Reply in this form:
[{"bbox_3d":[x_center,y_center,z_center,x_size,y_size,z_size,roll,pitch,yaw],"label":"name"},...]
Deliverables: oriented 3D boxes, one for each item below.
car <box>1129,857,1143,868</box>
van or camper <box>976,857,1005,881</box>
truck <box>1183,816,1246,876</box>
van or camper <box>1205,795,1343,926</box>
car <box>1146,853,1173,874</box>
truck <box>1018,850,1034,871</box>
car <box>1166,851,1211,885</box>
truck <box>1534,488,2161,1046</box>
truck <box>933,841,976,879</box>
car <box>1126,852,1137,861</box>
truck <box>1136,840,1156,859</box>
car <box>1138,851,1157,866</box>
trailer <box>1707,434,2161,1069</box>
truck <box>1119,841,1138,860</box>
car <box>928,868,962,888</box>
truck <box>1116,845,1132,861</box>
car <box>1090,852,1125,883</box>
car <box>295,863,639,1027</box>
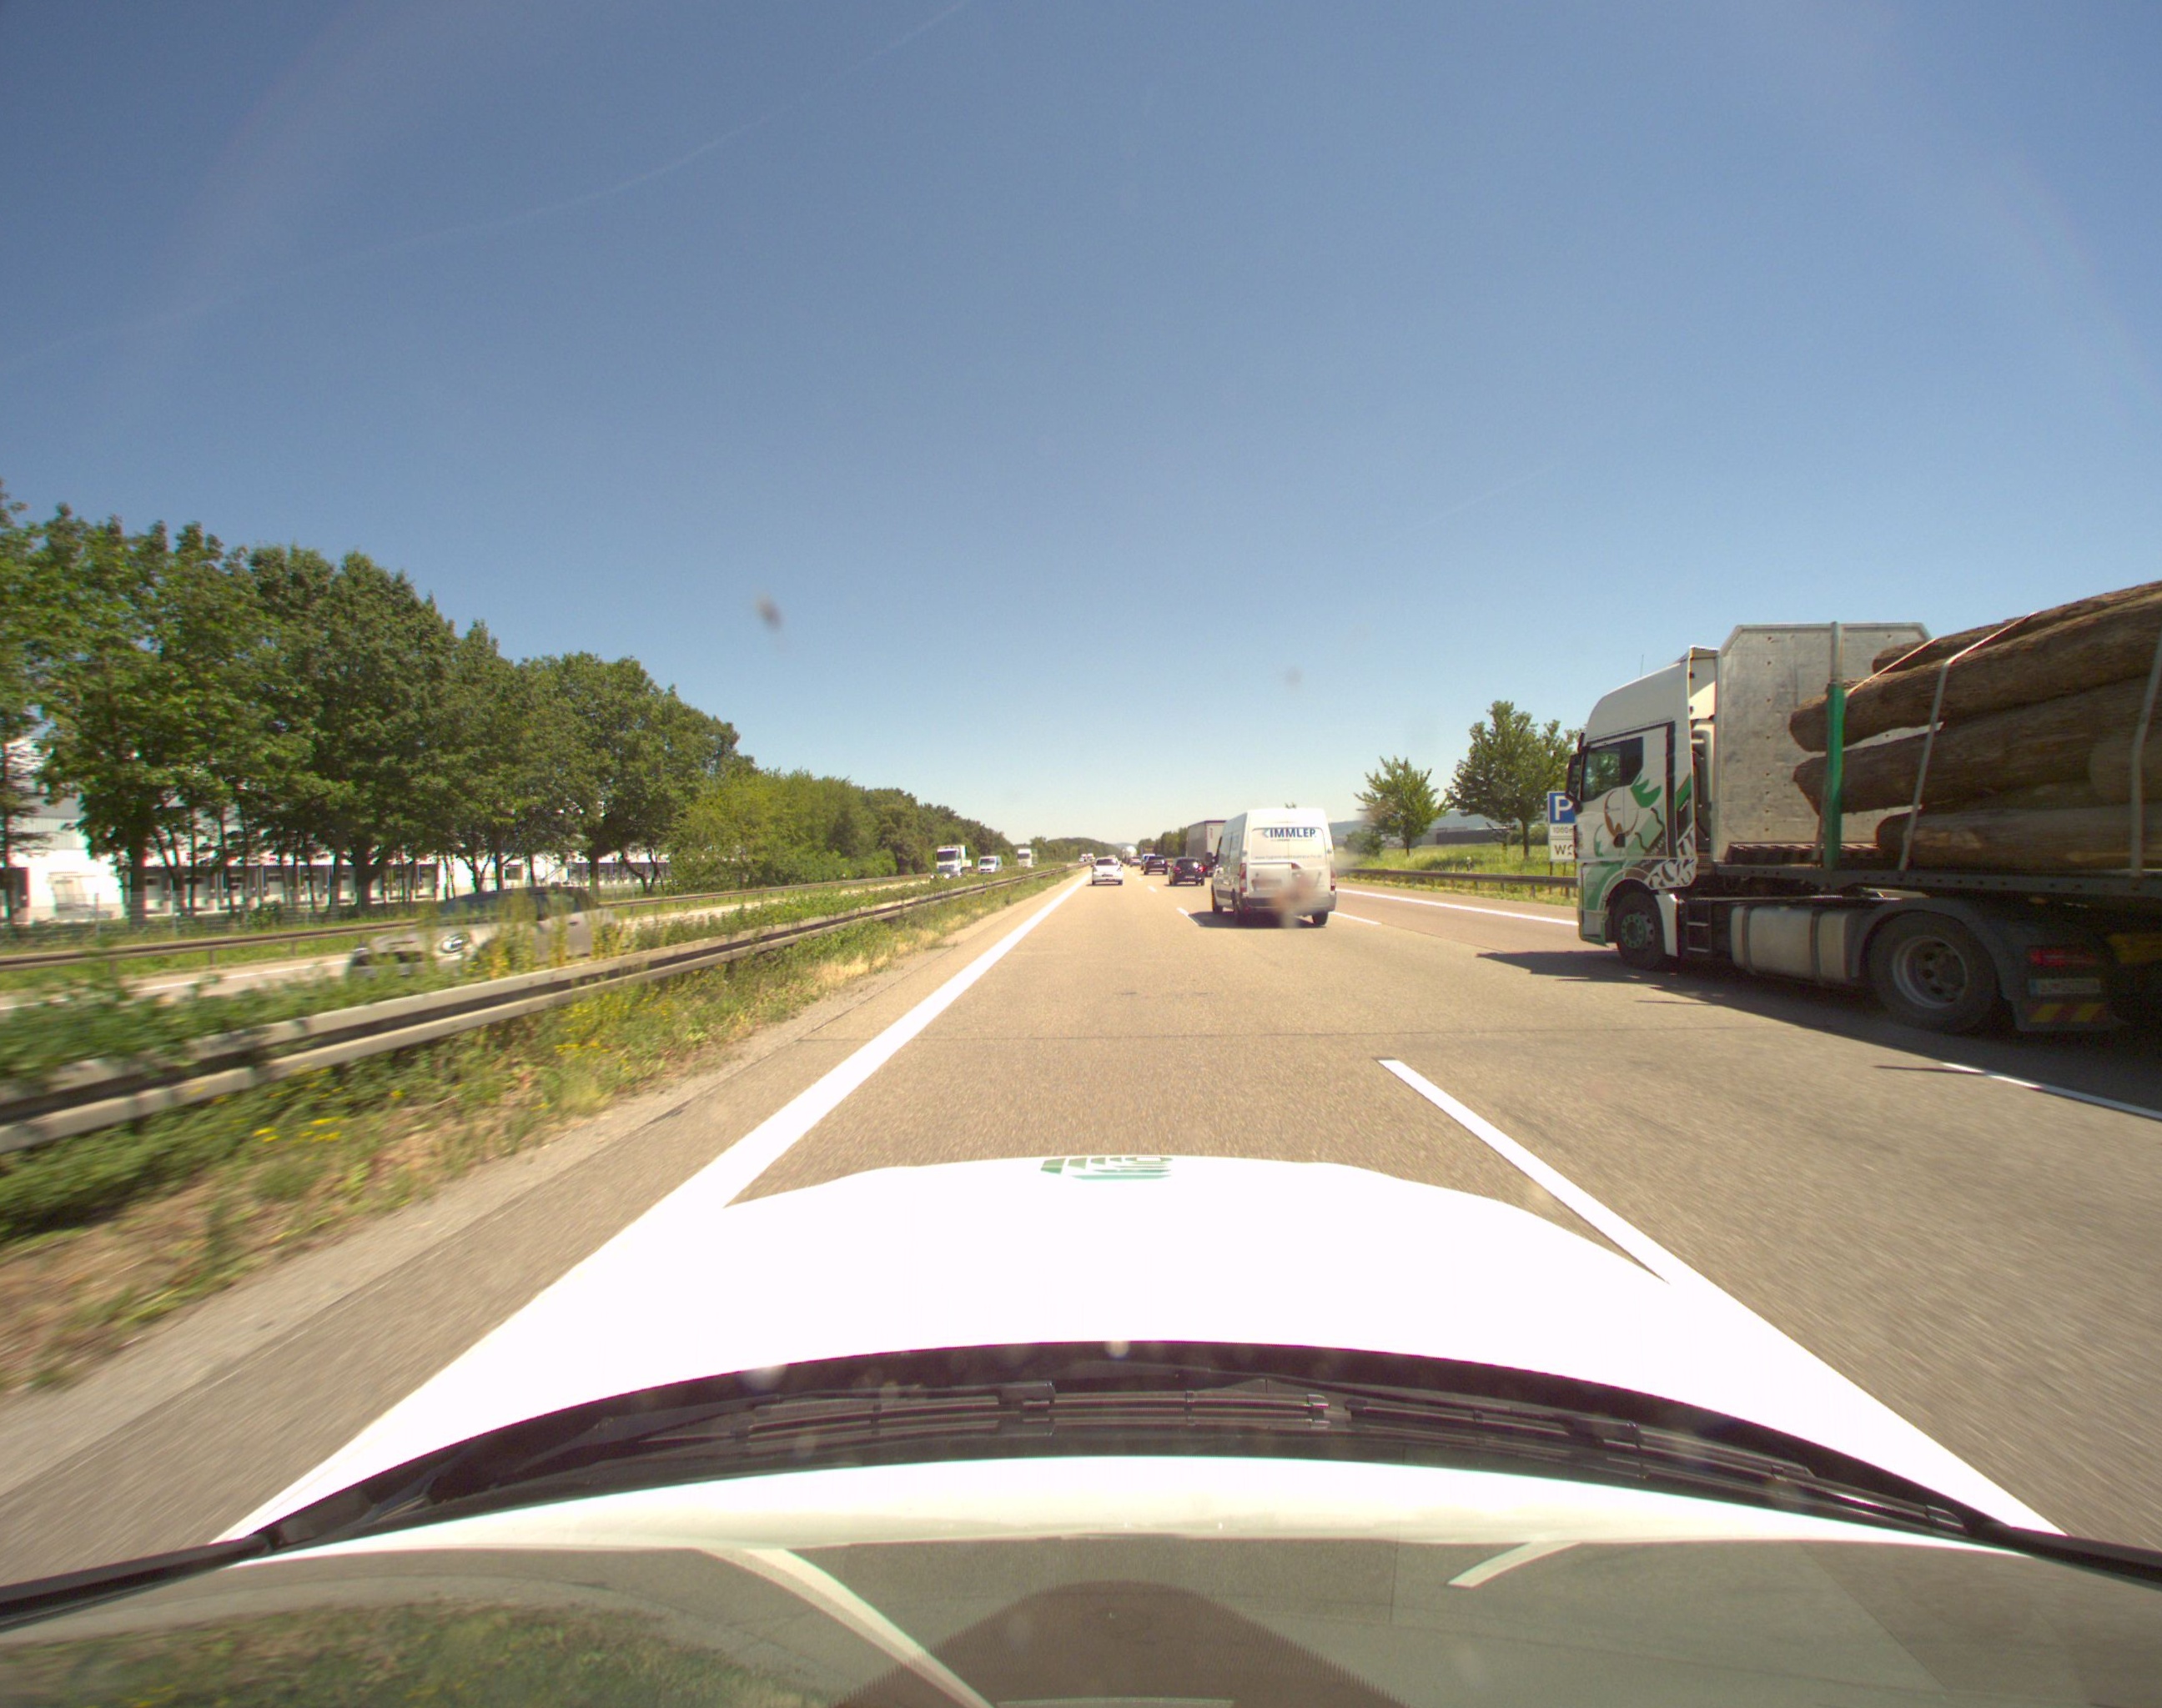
[{"bbox_3d":[8.289,1.309,122.987,1.851,1.652,4.000,-1,0,0],"label":"car"},{"bbox_3d":[-9.471,1.533,85.891,2.050,2.353,6.078,-3,0,2],"label":"van or camper"},{"bbox_3d":[10.388,-0.547,65.320,3.066,4.209,16.853,0,0,2],"label":"truck"},{"bbox_3d":[4.399,0.144,19.603,2.050,2.622,5.987,-1,0,2],"label":"van or camper"},{"bbox_3d":[6.545,0.780,68.403,1.851,1.652,4.000,-1,0,0],"label":"car"},{"bbox_3d":[-10.689,1.223,158.364,2.407,4.093,5.883,-1,0,2],"label":"truck"},{"bbox_3d":[5.598,0.702,42.985,1.851,1.652,4.000,-1,0,0],"label":"car"},{"bbox_3d":[8.203,-0.639,9.154,2.660,3.994,6.639,-1,0,2],"label":"truck"},{"bbox_3d":[-13.729,0.620,89.184,2.595,3.761,9.869,-3,0,2],"label":"truck"},{"bbox_3d":[9.267,0.430,148.983,1.851,1.652,4.000,-1,0,0],"label":"car"},{"bbox_3d":[14.943,-0.880,189.517,3.247,4.209,16.837,0,0,0],"label":"truck"},{"bbox_3d":[7.580,0.524,92.887,1.851,1.652,4.000,-1,0,0],"label":"car"},{"bbox_3d":[7.965,-0.649,2.062,2.643,3.958,13.642,-1,0,2],"label":"trailer"},{"bbox_3d":[10.778,-0.759,187.365,3.247,4.209,16.837,0,0,0],"label":"truck"},{"bbox_3d":[-11.027,1.937,66.136,1.851,1.439,4.598,-3,0,0],"label":"car"},{"bbox_3d":[11.837,-0.216,224.977,3.247,4.209,16.837,0,0,0],"label":"truck"},{"bbox_3d":[1.441,0.732,45.509,1.851,1.652,4.000,0,0,0],"label":"car"},{"bbox_3d":[-8.767,1.158,12.190,1.988,1.912,4.000,-3,0,0],"label":"car"}]
